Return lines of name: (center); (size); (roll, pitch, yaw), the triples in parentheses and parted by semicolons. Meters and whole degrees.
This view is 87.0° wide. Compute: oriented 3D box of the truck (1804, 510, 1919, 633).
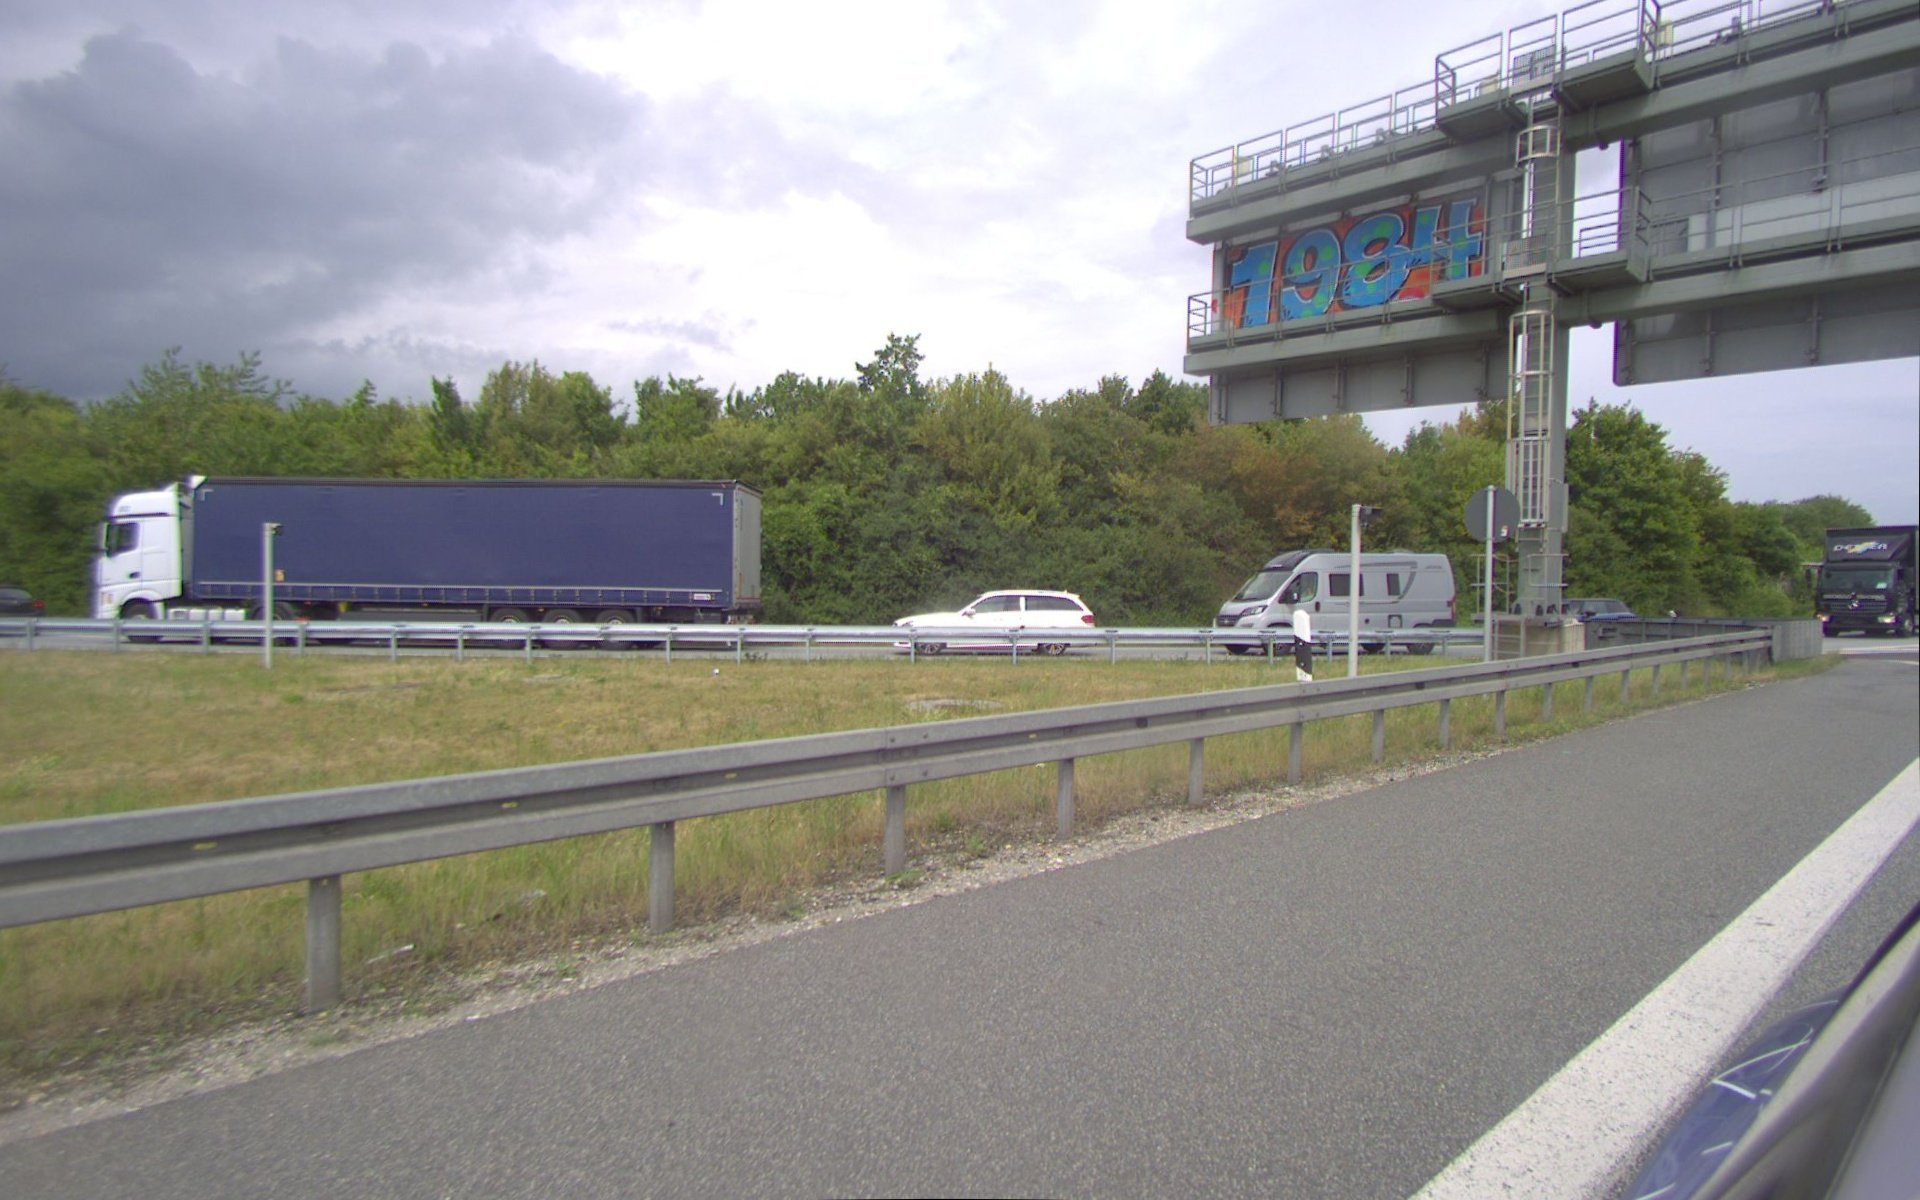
truck: (34.729, -0.995, 37.107); (10.140, 4.004, 3.028); (0, 1, -34)

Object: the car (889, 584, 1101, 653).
car: (0.730, 0.392, 23.691); (4.691, 1.520, 2.216); (0, 1, -5)

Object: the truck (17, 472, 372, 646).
truck: (-19.307, -1.006, 25.880); (6.664, 4.147, 3.369); (0, 0, 2)

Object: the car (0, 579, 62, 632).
car: (-27.478, 0.119, 28.029); (4.726, 1.379, 1.879); (1, 1, 20)

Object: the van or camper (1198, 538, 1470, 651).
van or camper: (9.194, -0.143, 25.020); (6.031, 2.600, 2.306); (0, 1, -14)

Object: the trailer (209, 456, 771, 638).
trailer: (-11.467, -1.260, 25.520); (12.791, 4.246, 3.340); (0, 0, 2)

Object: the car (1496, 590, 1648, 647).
car: (16.801, 0.467, 27.808); (3.589, 1.437, 1.738); (-1, 1, -21)
